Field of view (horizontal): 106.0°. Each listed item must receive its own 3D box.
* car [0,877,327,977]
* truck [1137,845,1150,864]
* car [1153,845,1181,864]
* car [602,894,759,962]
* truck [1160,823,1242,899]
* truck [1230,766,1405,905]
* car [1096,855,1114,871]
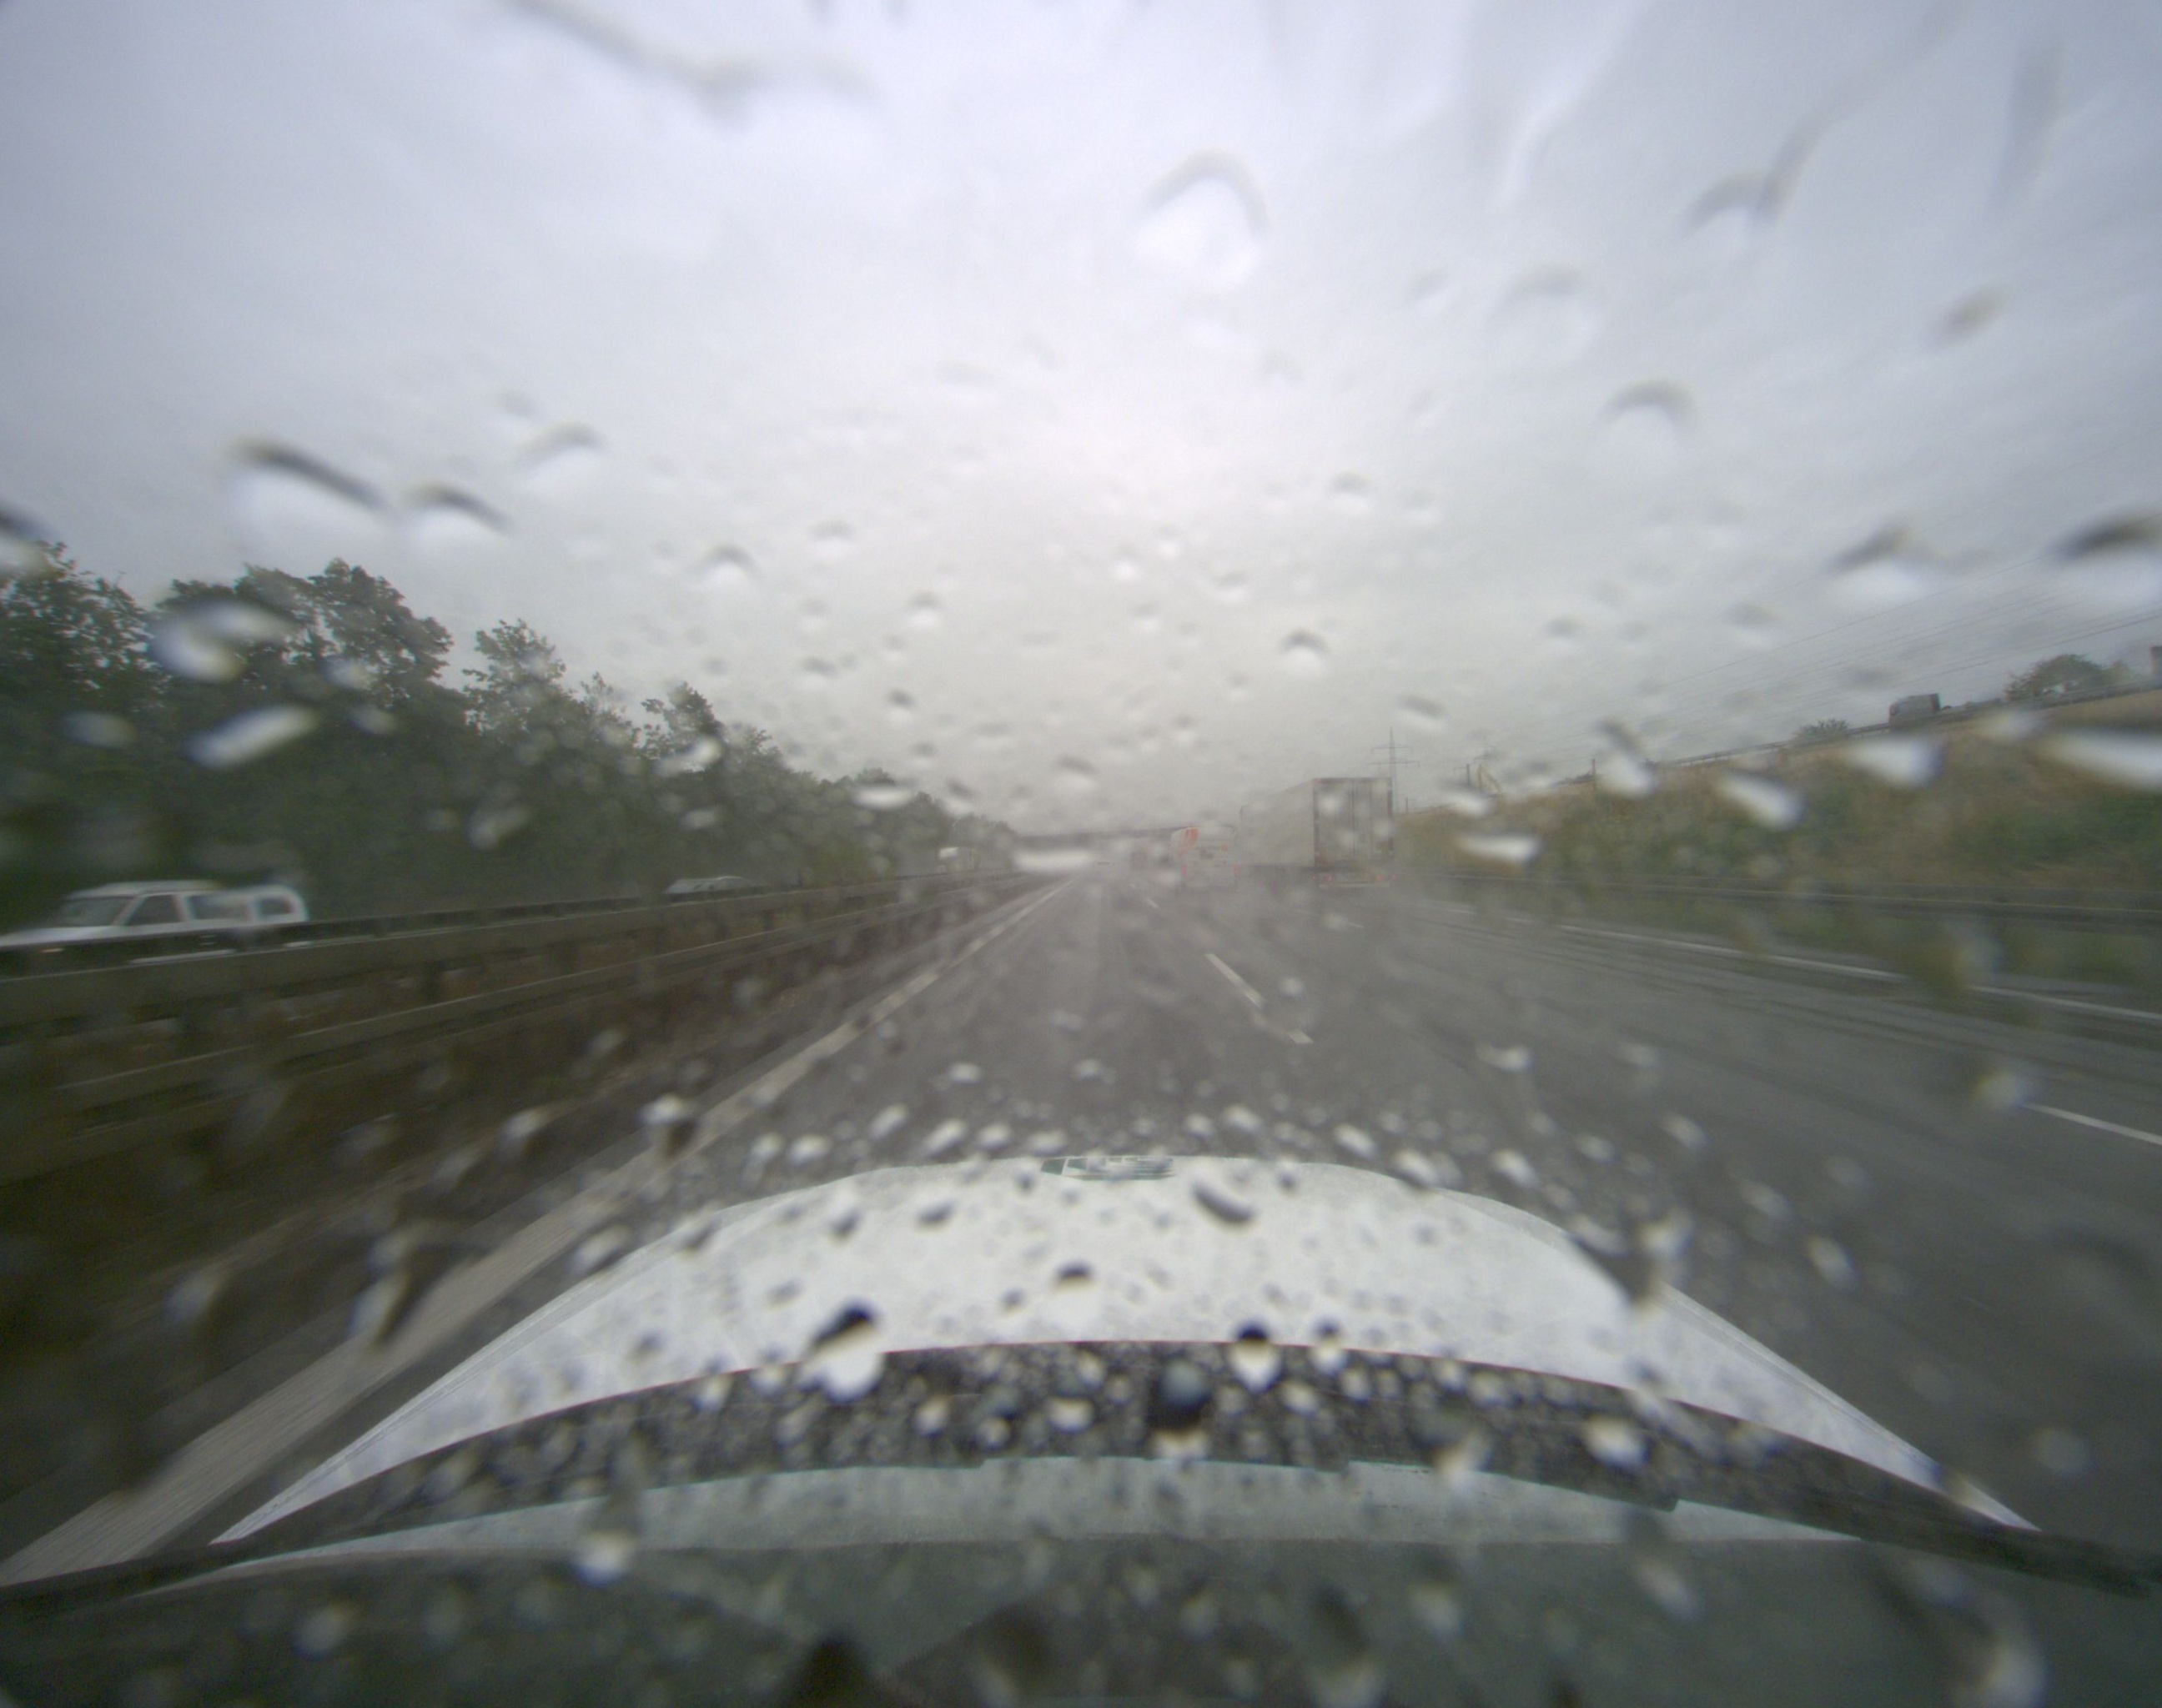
[{"bbox_3d":[-18.334,1.343,16.516,1.729,1.663,4.663,-1,-1,-1],"label":"car"},{"bbox_3d":[11.715,0.070,153.316,2.102,3.516,5.247,-1,1,0],"label":"truck"},{"bbox_3d":[9.600,0.015,91.416,2.778,2.013,4.995,-1,1,1],"label":"car"},{"bbox_3d":[-10.486,1.877,21.760,1.987,1.451,4.517,-1,-1,-1],"label":"car"},{"bbox_3d":[4.262,0.190,29.945,2.410,2.492,5.563,-1,1,2],"label":"truck"},{"bbox_3d":[9.381,-0.611,35.321,3.029,4.588,16.353,-1,0,1],"label":"truck"},{"bbox_3d":[2.227,0.818,74.619,1.599,1.338,3.850,-1,1,1],"label":"car"}]
